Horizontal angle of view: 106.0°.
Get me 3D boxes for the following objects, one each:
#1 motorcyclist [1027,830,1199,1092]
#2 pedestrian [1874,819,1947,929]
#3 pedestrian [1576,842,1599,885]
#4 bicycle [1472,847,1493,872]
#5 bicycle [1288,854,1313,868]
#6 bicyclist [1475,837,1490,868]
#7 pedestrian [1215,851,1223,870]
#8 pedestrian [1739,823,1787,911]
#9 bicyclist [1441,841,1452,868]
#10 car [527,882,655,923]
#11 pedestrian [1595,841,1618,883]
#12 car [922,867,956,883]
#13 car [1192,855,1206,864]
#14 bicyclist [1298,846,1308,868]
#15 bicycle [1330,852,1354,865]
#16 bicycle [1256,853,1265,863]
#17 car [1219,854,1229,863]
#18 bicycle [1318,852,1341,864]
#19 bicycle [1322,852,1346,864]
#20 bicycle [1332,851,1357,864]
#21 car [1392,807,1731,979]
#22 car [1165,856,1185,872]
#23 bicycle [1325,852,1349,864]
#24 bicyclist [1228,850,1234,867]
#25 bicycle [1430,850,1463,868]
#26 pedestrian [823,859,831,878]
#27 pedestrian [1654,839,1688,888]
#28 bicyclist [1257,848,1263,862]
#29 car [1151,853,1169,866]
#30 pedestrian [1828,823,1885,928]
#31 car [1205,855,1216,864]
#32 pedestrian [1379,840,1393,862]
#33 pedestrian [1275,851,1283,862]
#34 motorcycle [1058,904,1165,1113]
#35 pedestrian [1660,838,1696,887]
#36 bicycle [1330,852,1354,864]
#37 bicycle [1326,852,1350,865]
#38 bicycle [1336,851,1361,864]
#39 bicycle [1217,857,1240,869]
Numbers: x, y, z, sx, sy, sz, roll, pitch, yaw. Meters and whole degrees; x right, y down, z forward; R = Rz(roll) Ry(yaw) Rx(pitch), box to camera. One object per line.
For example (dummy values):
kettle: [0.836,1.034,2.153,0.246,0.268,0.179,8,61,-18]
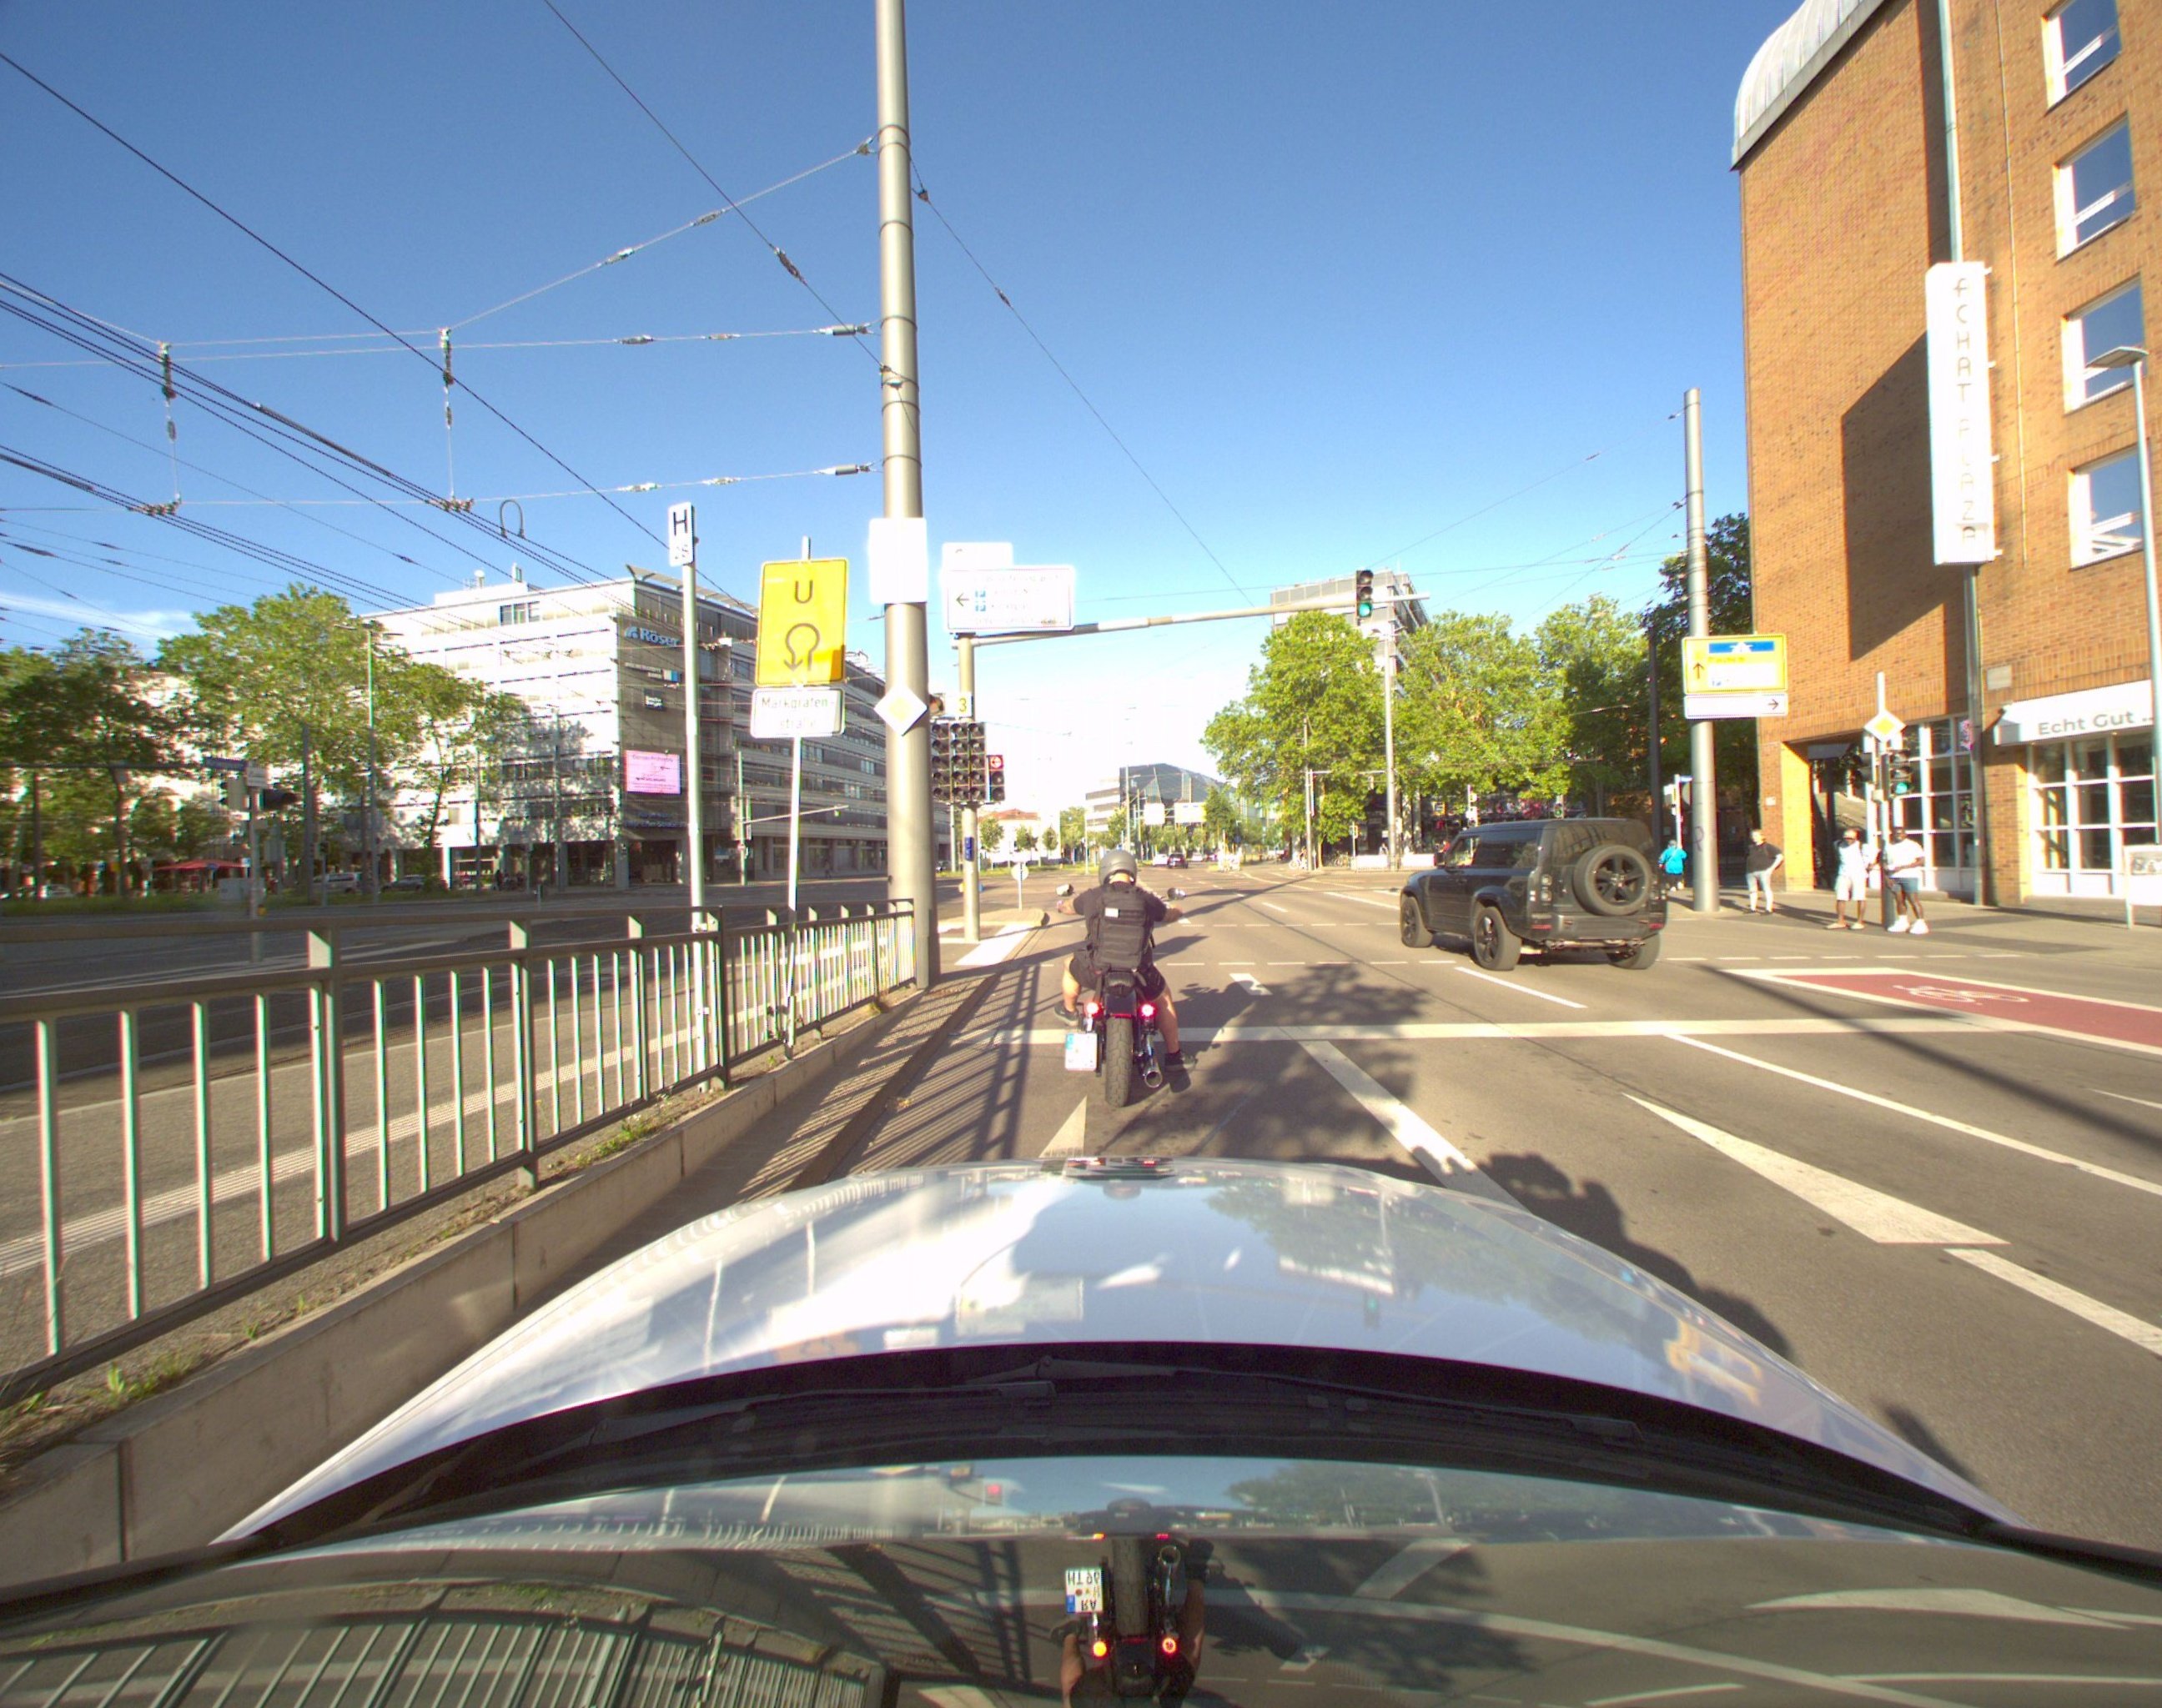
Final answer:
motorcyclist: [0.211,0.664,5.487,1.027,1.593,0.874,-2,0,1]
pedestrian: [13.822,0.322,13.576,0.682,1.780,0.589,-2,-1,-24]
pedestrian: [18.241,0.332,29.357,0.561,1.532,0.706,-1,-1,22]
bicycle: [19.745,0.284,40.049,0.562,1.178,2.340,-1,-1,17]
bicycle: [17.543,0.564,64.976,1.854,1.044,0.540,-1,-1,20]
bicyclist: [19.753,-0.072,40.055,0.561,1.519,0.636,-1,-1,17]
pedestrian: [11.698,0.546,69.142,0.587,1.557,0.488,0,-1,-6]
pedestrian: [14.231,0.266,17.003,0.727,1.792,0.515,-1,-1,42]
bicyclist: [25.163,0.040,56.090,0.582,1.837,0.403,0,-1,1]
car: [-13.830,1.357,23.116,2.884,1.063,1.235,0,-1,-19]
pedestrian: [18.903,0.292,29.291,0.561,1.479,0.706,-1,-1,22]
car: [-13.777,2.009,79.144,1.737,1.524,4.014,-1,-1,13]
car: [19.979,0.872,137.458,1.790,1.430,4.470,-2,0,14]
bicyclist: [17.718,0.243,64.915,0.682,1.673,0.544,-2,-2,21]
bicycle: [21.599,0.347,67.523,1.874,1.046,0.360,0,0,1]
bicycle: [23.236,0.528,105.389,0.722,1.367,2.922,0,-1,6]
car: [27.369,0.881,155.755,1.717,1.838,3.589,-1,-1,14]
bicycle: [21.465,0.355,70.294,1.874,1.046,0.360,0,0,1]
bicycle: [21.472,0.350,69.142,1.874,1.046,0.360,0,0,1]
bicycle: [21.423,0.306,66.153,1.874,1.046,0.360,0,-1,1]
car: [6.214,0.427,11.322,2.151,1.915,4.474,0,0,1]
car: [9.785,1.007,84.318,1.793,1.595,4.464,-2,0,9]
bicycle: [21.579,0.349,68.641,1.874,1.046,0.360,0,0,1]
bicyclist: [12.340,0.392,67.013,0.380,1.373,0.344,0,-1,-7]
bicycle: [25.173,0.349,56.089,2.034,1.214,0.421,0,-1,2]
pedestrian: [-26.494,1.540,84.936,0.628,2.014,0.754,0,-1,2]
pedestrian: [18.316,0.303,25.304,0.590,1.476,0.552,-2,-1,2]
bicyclist: [23.287,0.193,105.949,0.693,1.808,0.730,0,-1,6]
car: [9.138,0.615,93.573,1.793,1.430,4.464,-2,0,9]
pedestrian: [13.629,0.372,14.334,0.586,1.780,0.686,-3,-1,38]
car: [23.396,0.984,147.012,1.790,1.678,4.055,0,-1,14]
pedestrian: [24.175,-0.219,64.557,0.829,1.704,0.760,0,-1,2]
pedestrian: [21.968,0.278,90.301,0.814,1.314,0.640,-1,-1,11]
motorcycle: [0.209,0.946,5.738,0.598,1.036,2.235,0,0,2]
pedestrian: [18.018,0.251,24.575,0.590,1.452,0.601,-2,-1,2]
bicycle: [21.461,0.329,66.967,1.874,1.046,0.360,0,-1,1]
bicycle: [21.489,0.356,68.156,1.874,1.046,0.360,0,-1,1]
bicycle: [21.474,0.283,65.371,1.874,1.046,0.360,0,-1,1]
bicycle: [12.100,0.753,66.986,1.823,0.925,0.357,0,-1,-7]
